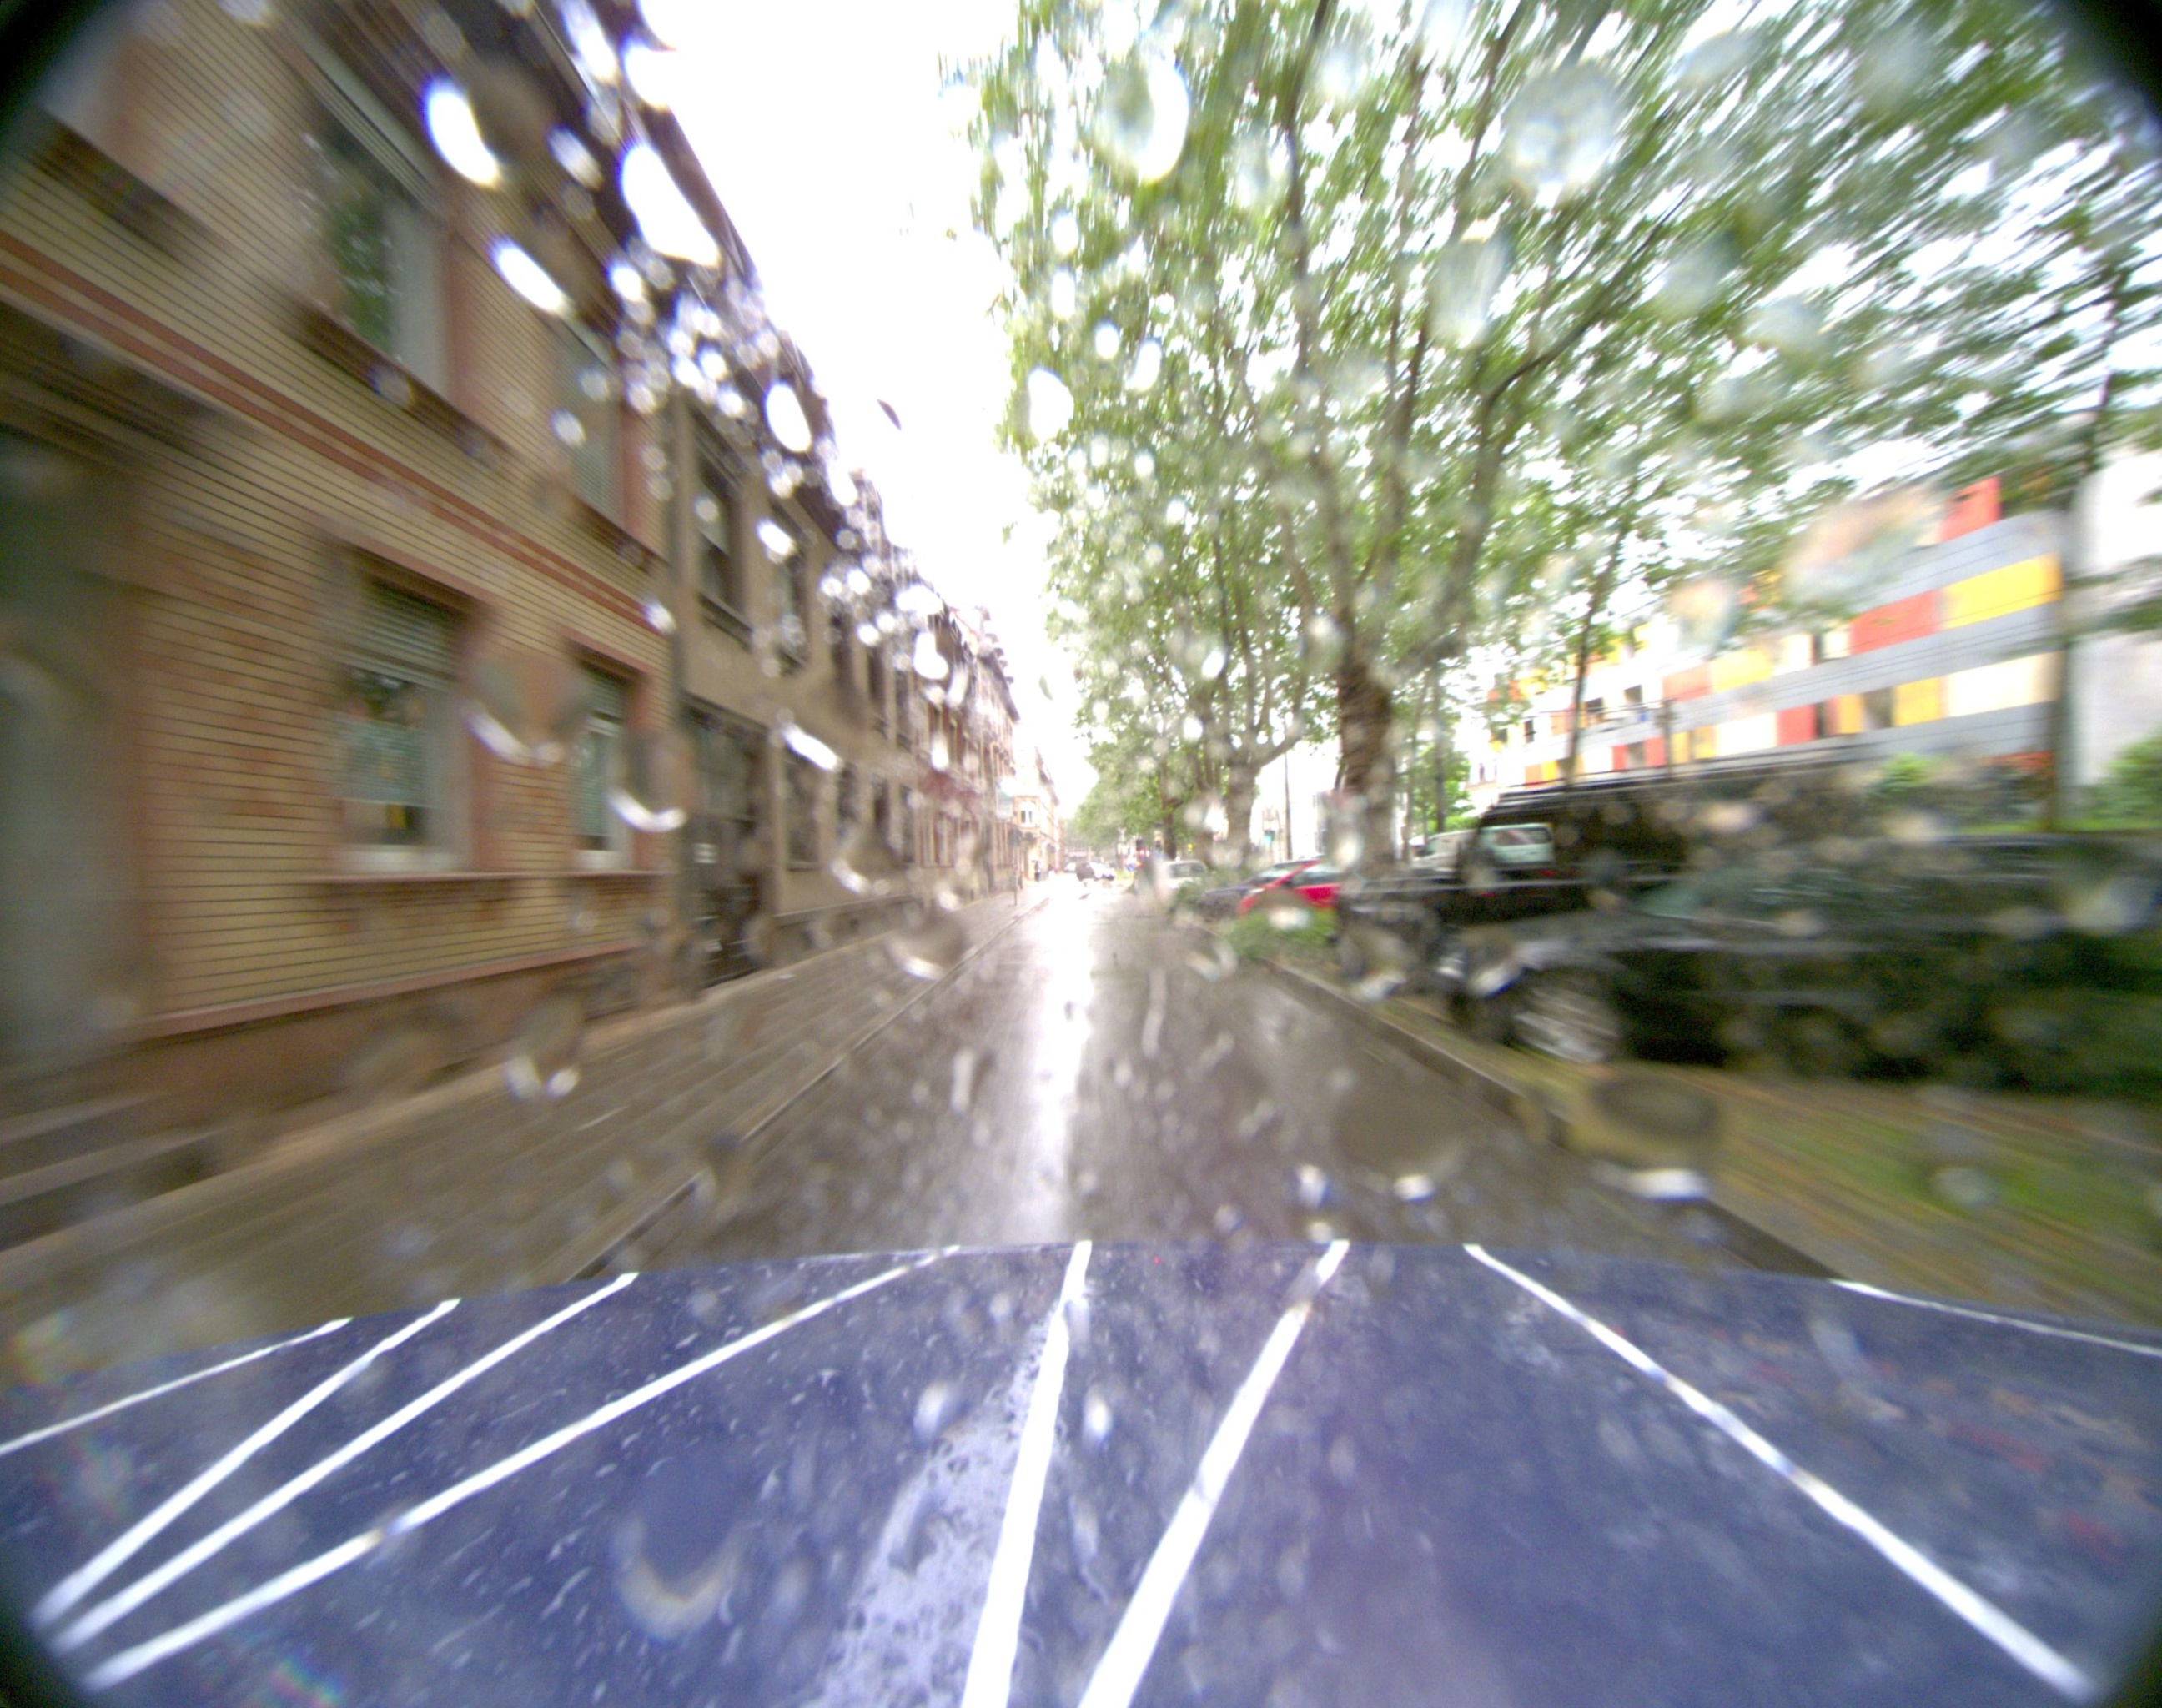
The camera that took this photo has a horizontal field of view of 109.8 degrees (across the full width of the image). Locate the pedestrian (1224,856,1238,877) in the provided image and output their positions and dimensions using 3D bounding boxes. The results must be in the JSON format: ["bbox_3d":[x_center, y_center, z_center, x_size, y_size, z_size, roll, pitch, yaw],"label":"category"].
[{"bbox_3d":[13.367,1.095,67.868,0.938,1.789,1.206,-2,1,0],"label":"pedestrian"}]

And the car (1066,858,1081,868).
[{"bbox_3d":[-1.178,1.362,115.479,1.976,1.359,4.162,3,0,3],"label":"car"}]

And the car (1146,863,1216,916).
[{"bbox_3d":[3.217,1.108,25.205,1.733,1.505,4.208,-3,0,1],"label":"car"}]

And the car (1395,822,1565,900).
[{"bbox_3d":[12.007,0.227,23.432,2.059,1.985,5.433,-4,0,-3],"label":"car"}]

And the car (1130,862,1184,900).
[{"bbox_3d":[3.354,1.179,34.367,1.901,1.476,4.622,-3,0,1],"label":"car"}]

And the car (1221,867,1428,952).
[{"bbox_3d":[4.694,1.020,14.656,3.494,1.427,1.785,-2,0,28],"label":"car"}]

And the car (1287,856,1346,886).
[{"bbox_3d":[12.834,0.904,41.680,1.909,1.455,4.389,-3,-1,2],"label":"car"}]

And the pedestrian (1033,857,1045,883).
[{"bbox_3d":[-3.177,1.194,57.667,0.787,1.902,0.929,1,0,0],"label":"pedestrian"}]

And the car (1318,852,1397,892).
[{"bbox_3d":[12.281,0.763,34.066,1.909,1.591,4.468,-3,-1,1],"label":"car"}]

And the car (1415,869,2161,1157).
[{"bbox_3d":[4.768,0.810,4.875,4.648,1.318,1.850,-2,0,28],"label":"car"}]

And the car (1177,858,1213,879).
[{"bbox_3d":[8.136,1.023,54.460,1.838,1.411,4.000,-3,-1,-1],"label":"car"}]

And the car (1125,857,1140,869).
[{"bbox_3d":[7.815,1.367,115.592,1.937,1.838,4.067,-3,0,1],"label":"car"}]

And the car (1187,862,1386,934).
[{"bbox_3d":[4.624,0.963,17.138,4.037,1.426,1.784,-2,0,26],"label":"car"}]

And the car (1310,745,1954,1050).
[{"bbox_3d":[4.948,0.380,7.672,4.648,2.269,2.015,-2,0,30],"label":"car"}]

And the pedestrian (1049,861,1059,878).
[{"bbox_3d":[-2.554,1.514,72.706,0.849,1.564,0.576,3,0,1],"label":"pedestrian"}]

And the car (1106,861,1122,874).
[{"bbox_3d":[4.121,1.703,95.490,1.732,1.473,4.006,-3,-1,1],"label":"car"}]

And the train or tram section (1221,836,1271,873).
[{"bbox_3d":[17.701,0.058,82.586,2.907,3.621,11.552,-3,0,1],"label":"train or tram section"}]
